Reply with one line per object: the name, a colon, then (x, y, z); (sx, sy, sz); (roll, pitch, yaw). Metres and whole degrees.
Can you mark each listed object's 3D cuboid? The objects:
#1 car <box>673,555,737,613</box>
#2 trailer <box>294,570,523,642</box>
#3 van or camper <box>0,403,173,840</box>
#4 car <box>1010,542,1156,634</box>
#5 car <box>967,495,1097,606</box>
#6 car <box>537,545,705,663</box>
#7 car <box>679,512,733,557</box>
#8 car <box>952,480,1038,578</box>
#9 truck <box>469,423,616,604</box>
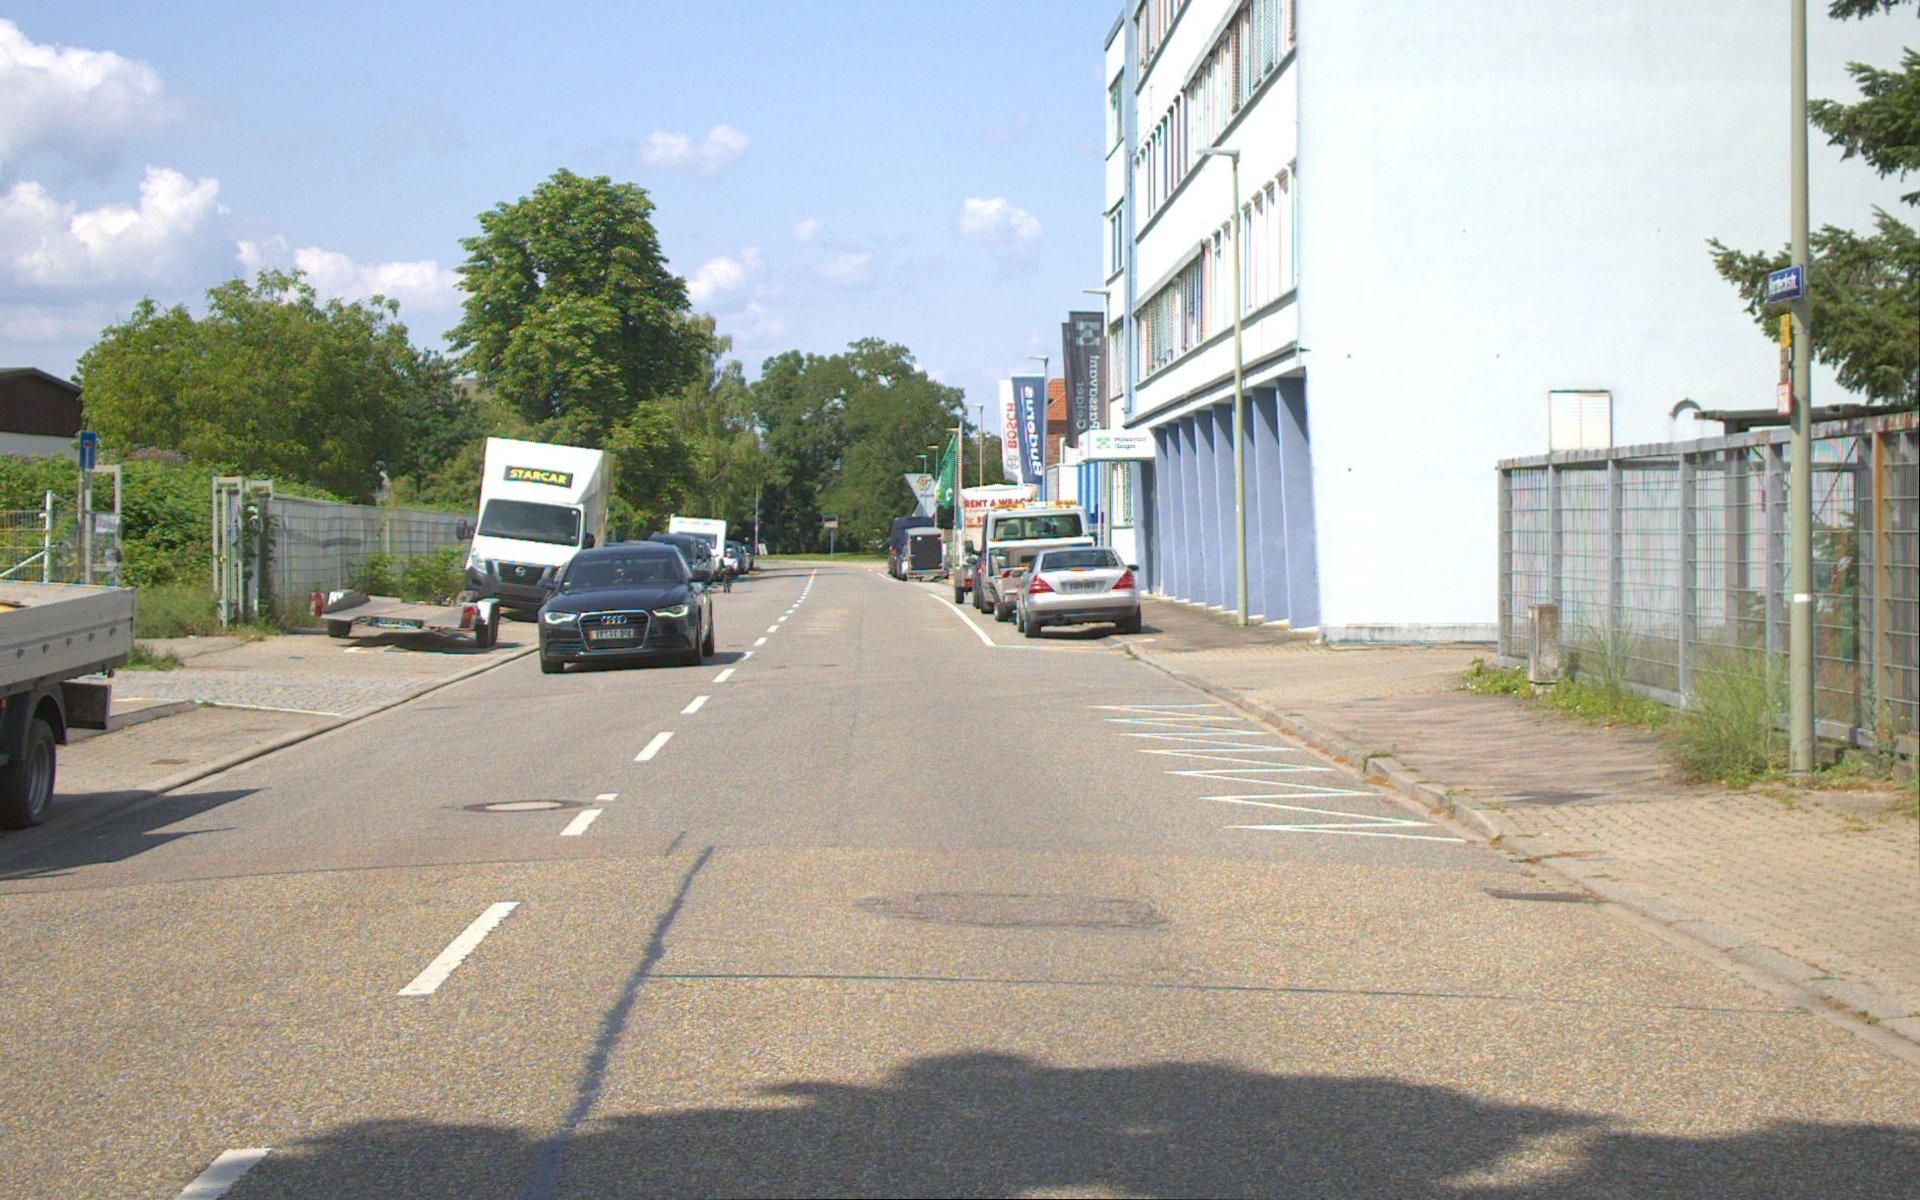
car: (-7.550, -0.492, 102.050); (1.713, 1.645, 4.000); (0, 1, -1)
trailer: (-7.728, 0.053, 48.713); (2.417, 0.811, 5.537); (2, 1, -1)
van or camper: (-6.371, 0.120, 18.747); (2.173, 2.405, 7.697); (0, 1, 2)
car: (1.793, -0.210, 51.202); (1.928, 1.306, 4.000); (0, 1, -1)
car: (1.314, -0.948, 64.888); (2.216, 2.007, 5.485); (0, 1, -1)
car: (-3.998, 0.008, 41.110); (1.654, 1.320, 4.417); (0, 1, -1)
car: (-10.440, -2.708, 141.517); (1.993, 1.809, 4.000); (0, 1, -1)
car: (0.746, -1.553, 75.327); (1.707, 2.082, 4.001); (0, 1, -2)
truck: (-7.567, -1.566, 62.886); (2.029, 3.143, 6.500); (0, 1, -1)
